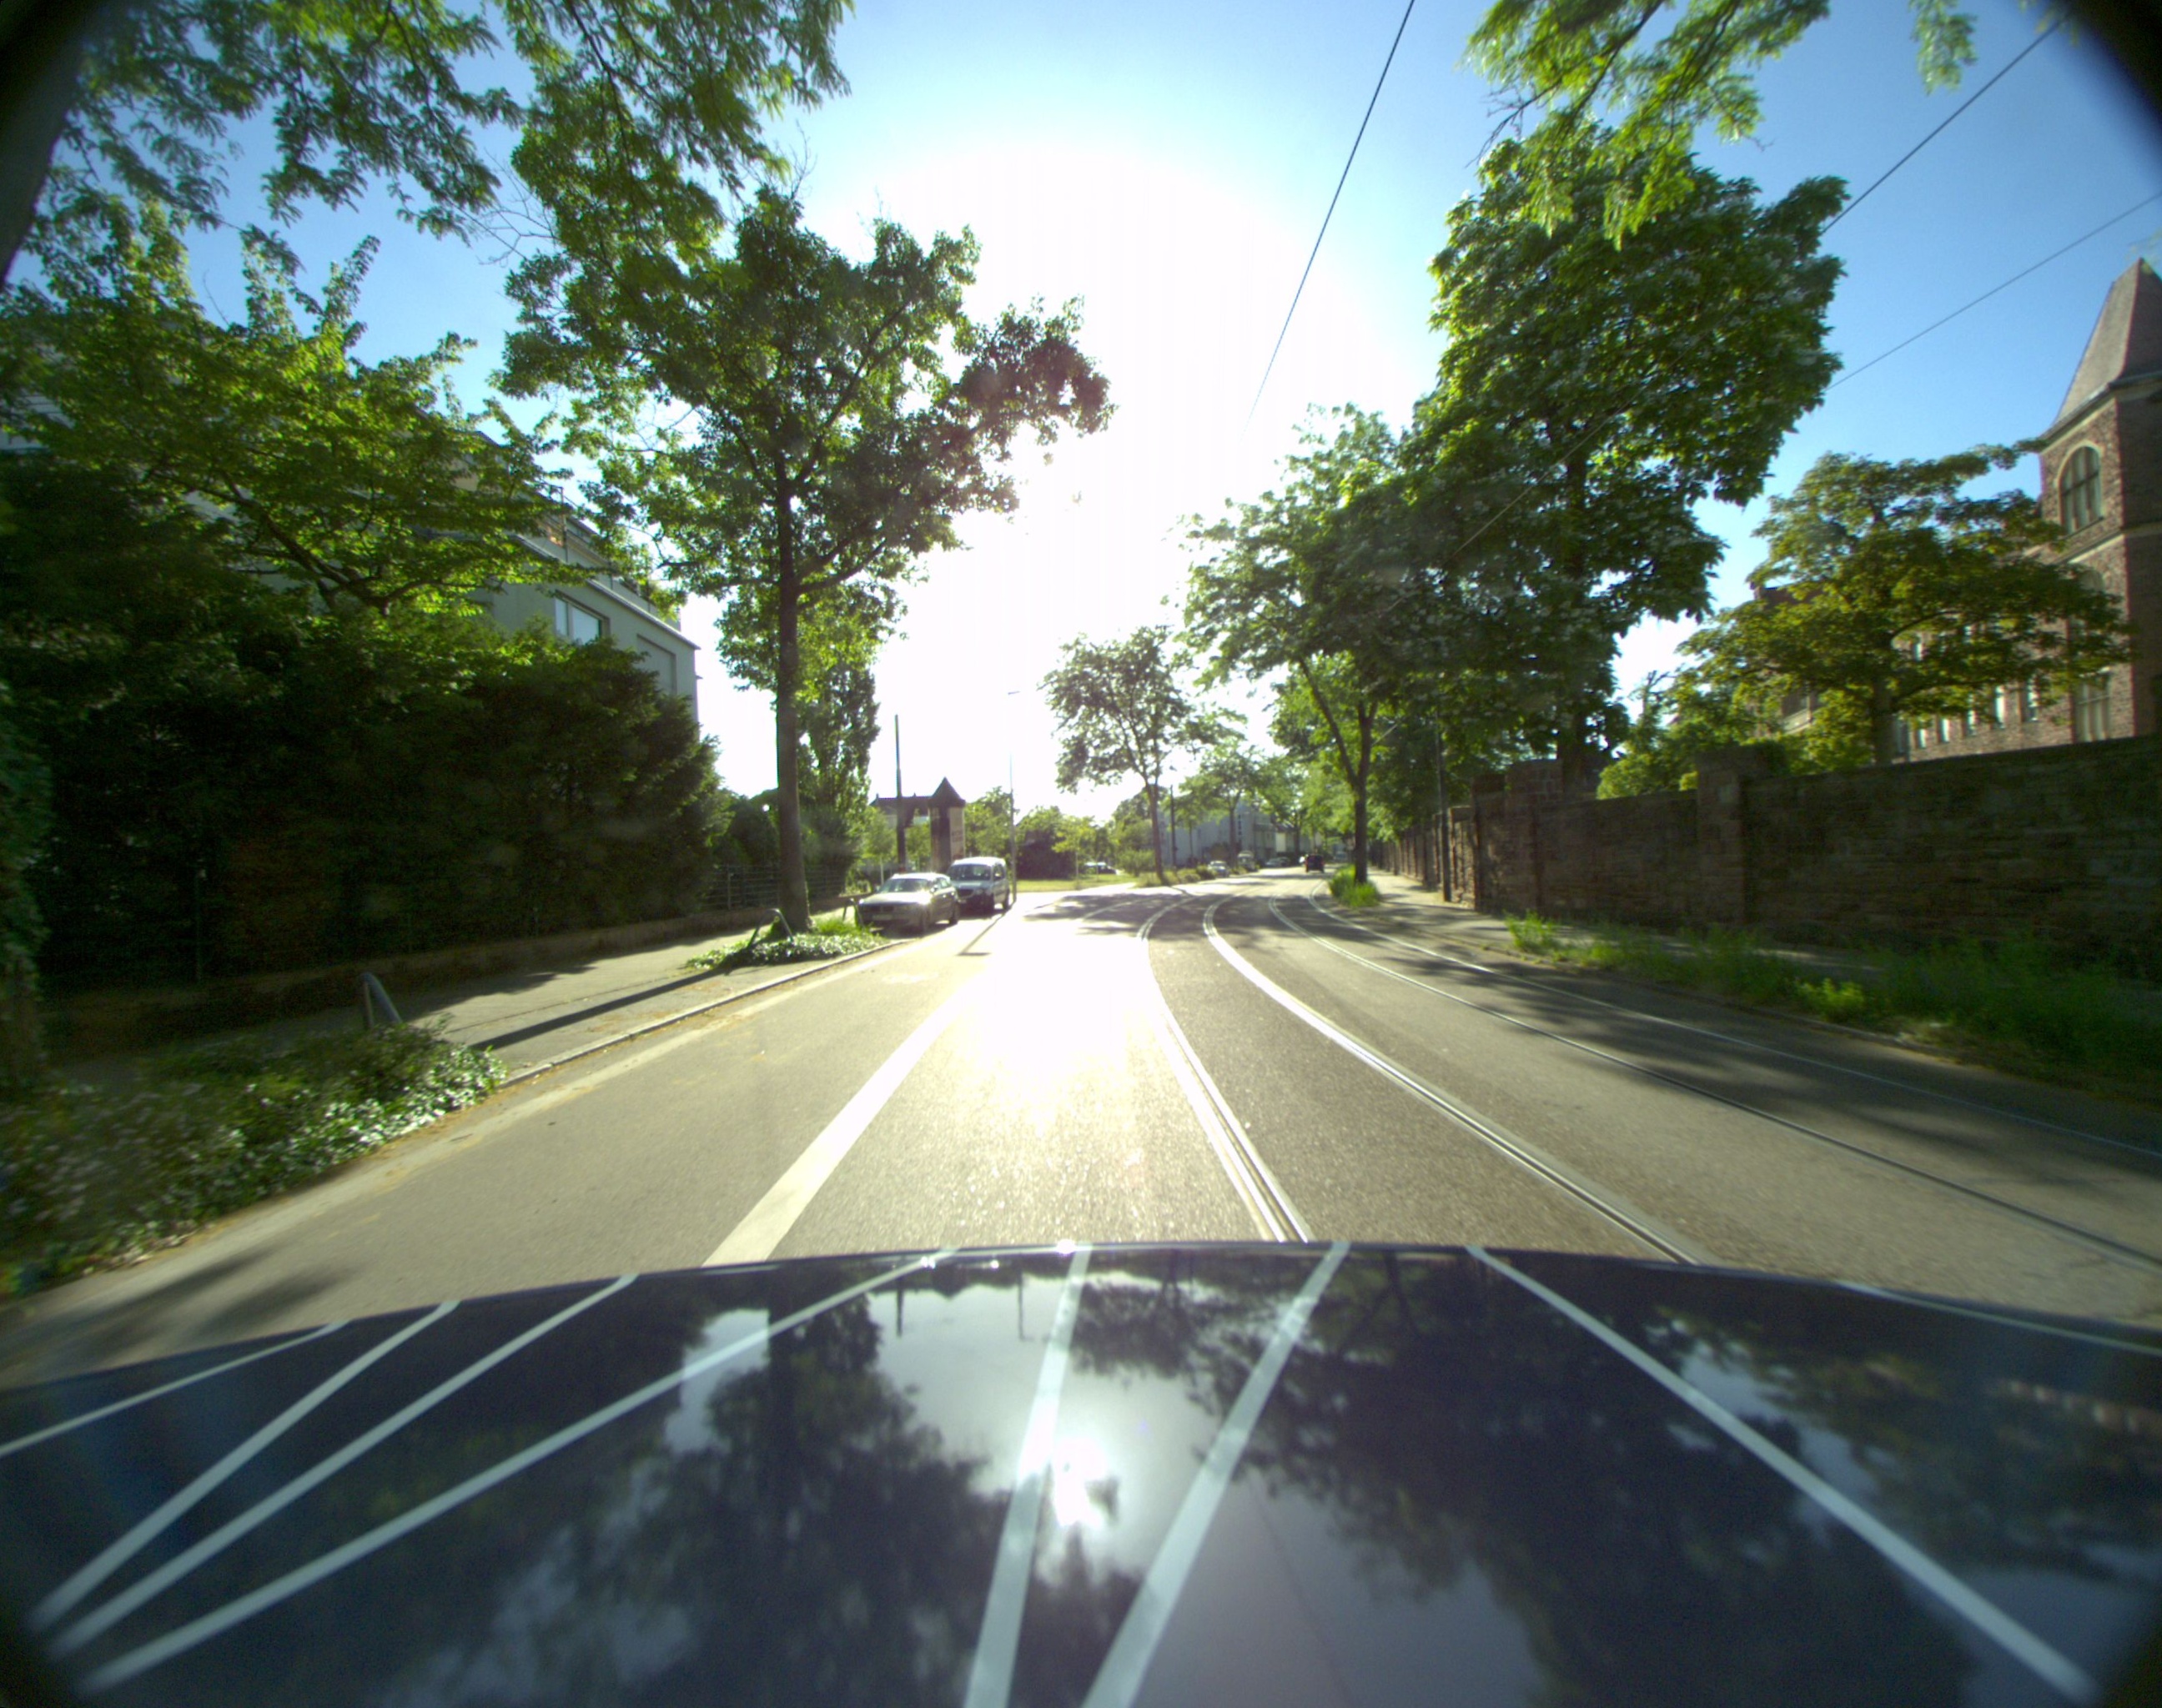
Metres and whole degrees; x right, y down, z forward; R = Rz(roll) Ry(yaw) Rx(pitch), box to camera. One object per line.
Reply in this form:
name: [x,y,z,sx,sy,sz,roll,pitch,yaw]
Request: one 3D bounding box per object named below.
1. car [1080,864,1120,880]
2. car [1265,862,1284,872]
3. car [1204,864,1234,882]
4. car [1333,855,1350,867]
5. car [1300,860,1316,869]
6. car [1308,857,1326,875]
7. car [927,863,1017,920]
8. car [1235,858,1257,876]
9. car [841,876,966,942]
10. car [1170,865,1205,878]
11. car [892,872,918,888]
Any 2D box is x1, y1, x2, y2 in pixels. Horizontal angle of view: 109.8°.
car: [2.585,2.444,103.510,5.208,1.873,2.101,-3,-1,2]
car: [30.449,2.049,119.552,1.739,1.486,4.538,-2,-1,29]
car: [13.417,1.812,73.625,2.002,1.457,5.440,2,1,18]
car: [57.663,1.598,168.097,2.293,2.574,5.729,-2,-1,29]
car: [41.809,2.004,139.841,1.877,1.509,4.658,-2,-1,27]
car: [24.198,1.233,77.916,1.635,1.781,4.344,-2,-1,18]
car: [-3.615,1.222,26.133,2.027,1.736,4.754,-1,-1,4]
car: [19.762,1.564,90.845,1.996,2.083,4.723,-2,-1,18]
car: [-4.551,1.374,20.195,1.998,1.414,4.334,-1,0,4]
car: [14.473,2.332,103.306,4.459,1.482,2.008,-1,3,2]
car: [-22.403,3.287,96.766,1.997,1.785,4.002,-2,-1,7]
